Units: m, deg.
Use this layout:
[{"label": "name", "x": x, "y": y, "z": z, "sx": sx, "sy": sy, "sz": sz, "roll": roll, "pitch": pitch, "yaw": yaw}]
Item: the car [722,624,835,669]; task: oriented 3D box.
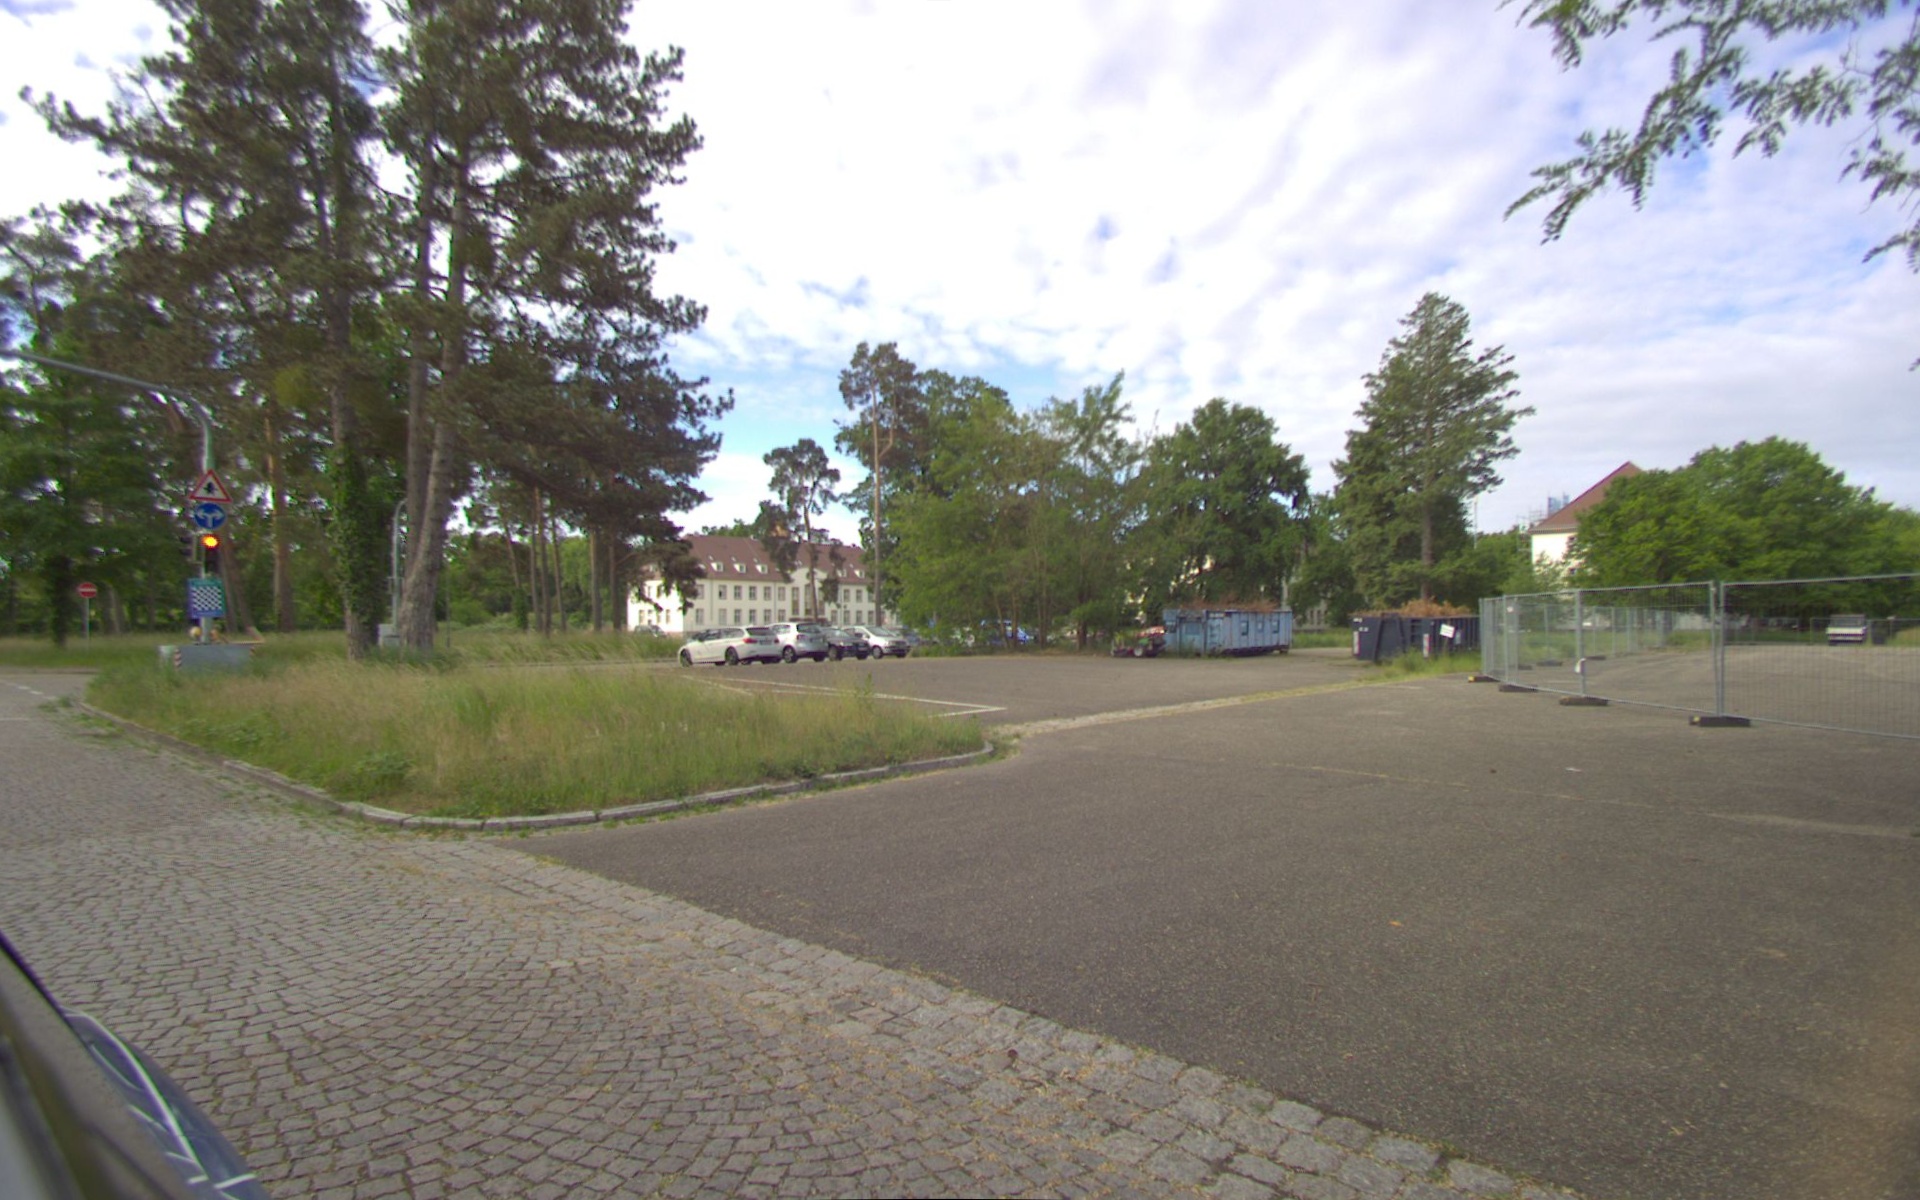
[{"label": "car", "x": -7.140, "y": 1.847, "z": 39.646, "sx": 4.580, "sy": 1.590, "sz": 1.817, "roll": -4, "pitch": -4, "yaw": 39}]

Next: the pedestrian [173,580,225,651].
[{"label": "pedestrian", "x": -16.862, "y": 0.348, "z": 22.446, "sx": 0.869, "sy": 1.529, "sz": 0.824, "roll": 1, "pitch": -2, "yaw": -34}]

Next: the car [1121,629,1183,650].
[{"label": "car", "x": 15.551, "y": 3.201, "z": 82.195, "sx": 4.580, "sy": 1.533, "sz": 1.817, "roll": -4, "pitch": -4, "yaw": 39}]

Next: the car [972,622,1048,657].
[{"label": "car", "x": 3.282, "y": 2.668, "z": 67.751, "sx": 4.979, "sy": 2.113, "sz": 1.816, "roll": -4, "pitch": -4, "yaw": 41}]

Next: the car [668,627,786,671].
[{"label": "car", "x": -8.703, "y": 1.835, "z": 37.585, "sx": 4.650, "sy": 1.461, "sz": 1.817, "roll": -4, "pitch": -4, "yaw": 39}]

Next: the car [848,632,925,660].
[{"label": "car", "x": -4.368, "y": 2.730, "z": 59.880, "sx": 4.580, "sy": 1.533, "sz": 1.817, "roll": -4, "pitch": -4, "yaw": 39}]

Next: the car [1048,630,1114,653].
[{"label": "car", "x": 8.890, "y": 3.032, "z": 74.551, "sx": 4.580, "sy": 1.533, "sz": 1.817, "roll": -4, "pitch": -4, "yaw": 39}]

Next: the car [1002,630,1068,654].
[{"label": "car", "x": 5.132, "y": 2.897, "z": 69.611, "sx": 4.284, "sy": 1.533, "sz": 1.727, "roll": -4, "pitch": -4, "yaw": 39}]

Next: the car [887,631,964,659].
[{"label": "car", "x": -2.135, "y": 2.745, "z": 61.515, "sx": 4.580, "sy": 1.571, "sz": 1.817, "roll": -4, "pitch": -4, "yaw": 39}]

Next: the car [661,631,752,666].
[{"label": "car", "x": -12.649, "y": 2.419, "z": 50.423, "sx": 4.572, "sy": 1.559, "sz": 1.820, "roll": -4, "pitch": -3, "yaw": 34}]

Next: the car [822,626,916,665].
[{"label": "car", "x": -3.986, "y": 1.989, "z": 43.971, "sx": 4.112, "sy": 1.533, "sz": 1.714, "roll": -4, "pitch": -4, "yaw": 42}]

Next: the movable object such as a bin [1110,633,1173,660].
[{"label": "movable object such as a bin", "x": 6.458, "y": 1.665, "z": 36.018, "sx": 1.931, "sy": 0.940, "sz": 1.029, "roll": -2, "pitch": -3, "yaw": 35}]

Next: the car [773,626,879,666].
[{"label": "car", "x": -5.575, "y": 1.912, "z": 41.754, "sx": 4.583, "sy": 1.480, "sz": 1.815, "roll": -4, "pitch": -4, "yaw": 42}]

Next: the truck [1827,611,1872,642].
[{"label": "truck", "x": 67.123, "y": 2.009, "z": 76.428, "sx": 2.373, "sy": 2.215, "sz": 6.465, "roll": -2, "pitch": -2, "yaw": 41}]

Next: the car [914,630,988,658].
[{"label": "car", "x": -0.624, "y": 2.814, "z": 64.159, "sx": 4.580, "sy": 1.586, "sz": 1.817, "roll": -4, "pitch": -4, "yaw": 39}]
